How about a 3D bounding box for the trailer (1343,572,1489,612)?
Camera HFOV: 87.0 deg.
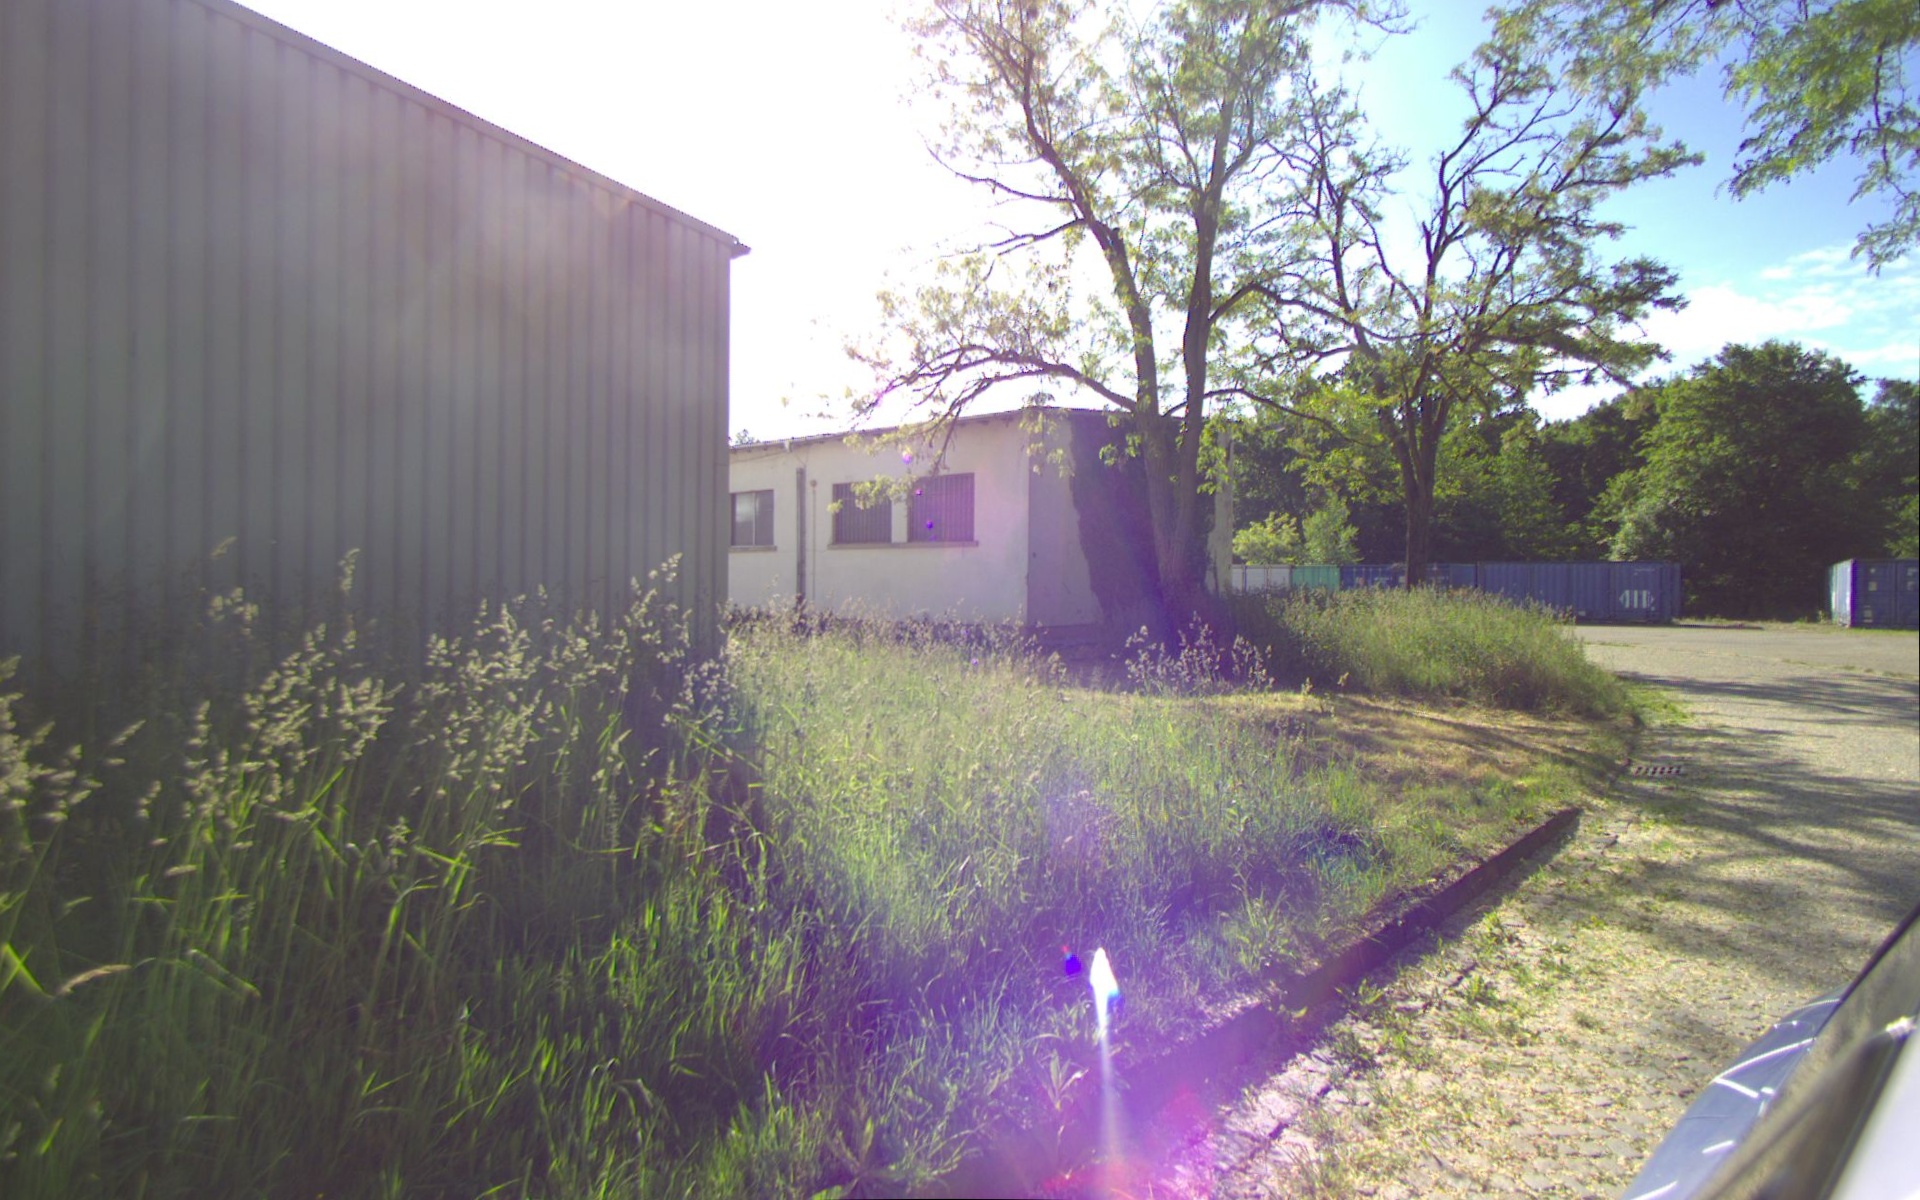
[{"bbox_3d":[18.169,-0.365,40.427,4.838,1.432,2.612,2,2,39],"label":"trailer"}]
